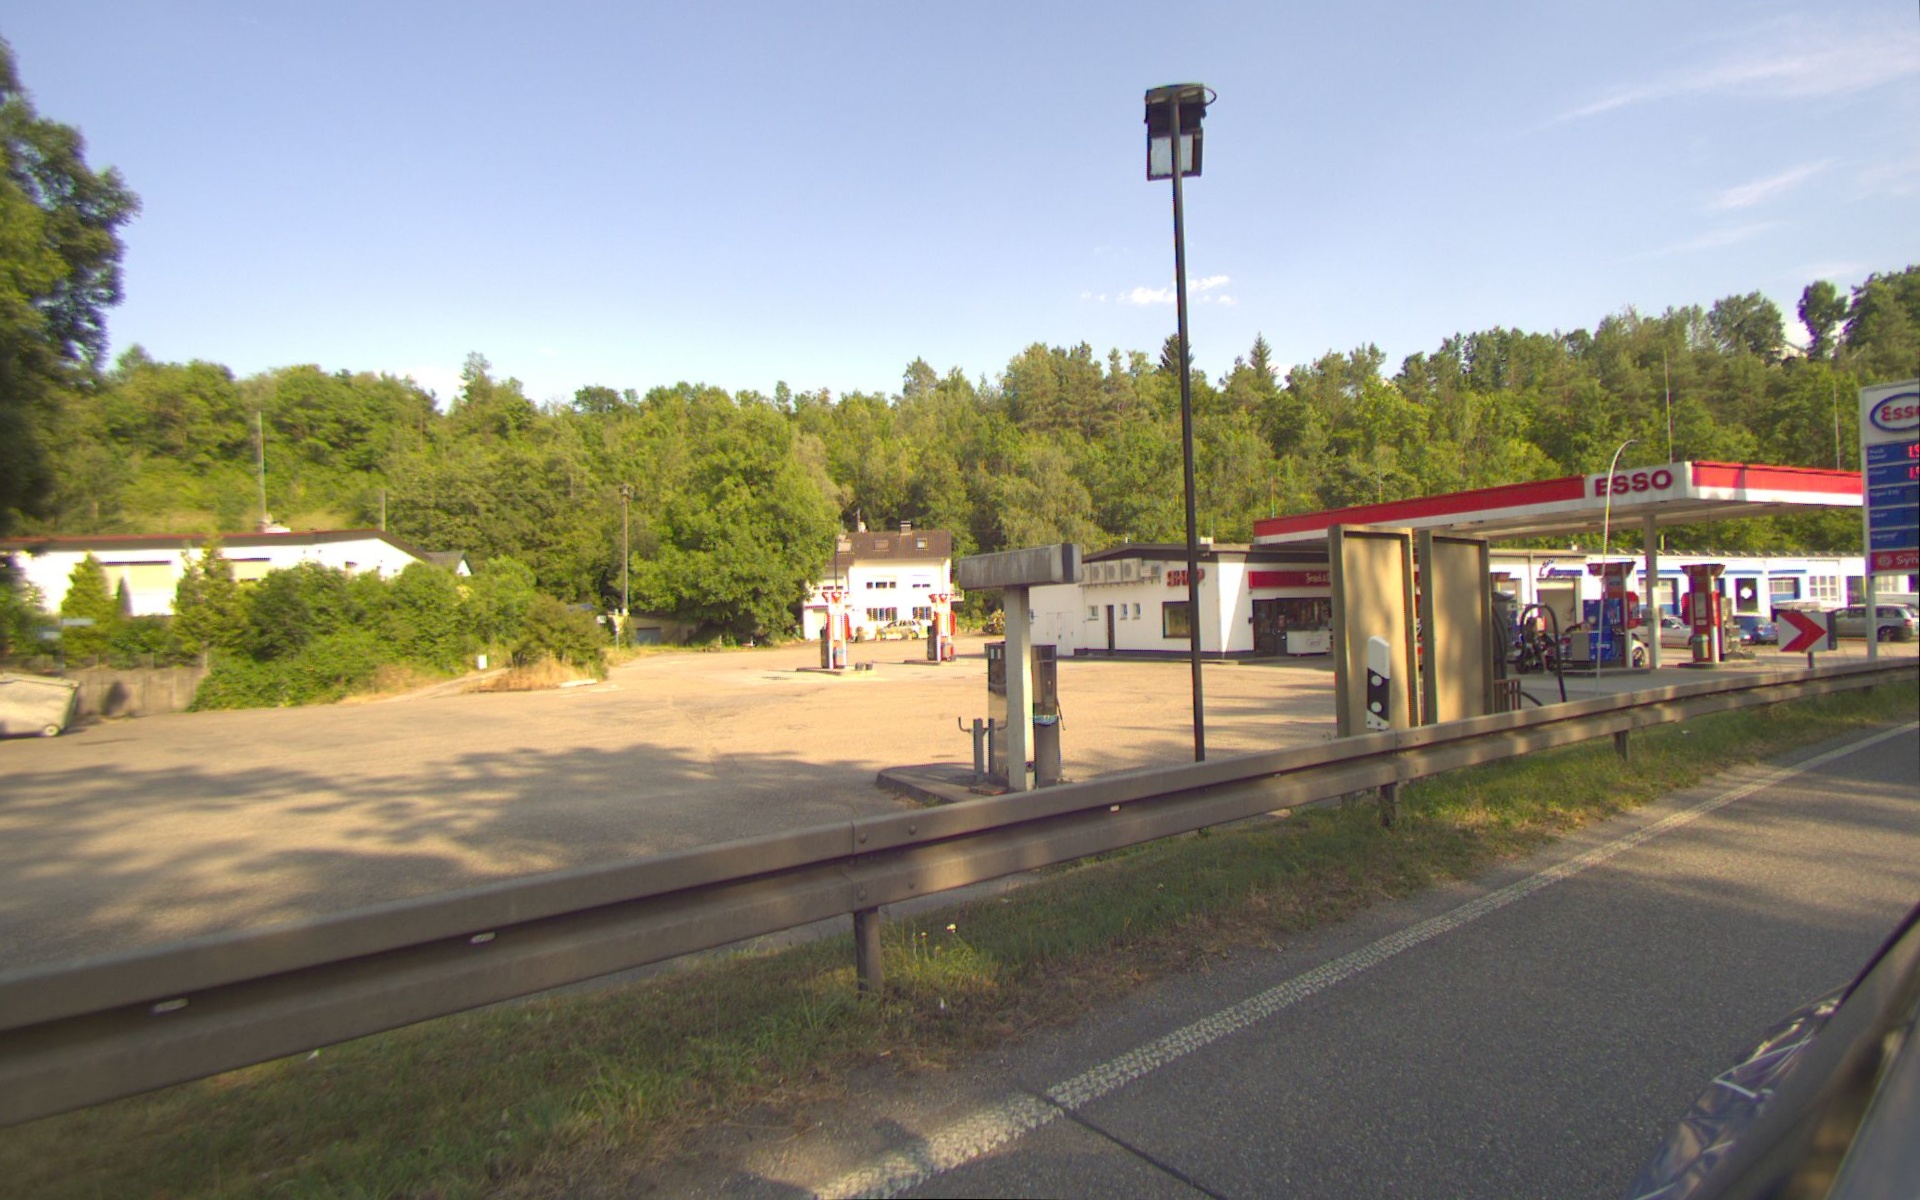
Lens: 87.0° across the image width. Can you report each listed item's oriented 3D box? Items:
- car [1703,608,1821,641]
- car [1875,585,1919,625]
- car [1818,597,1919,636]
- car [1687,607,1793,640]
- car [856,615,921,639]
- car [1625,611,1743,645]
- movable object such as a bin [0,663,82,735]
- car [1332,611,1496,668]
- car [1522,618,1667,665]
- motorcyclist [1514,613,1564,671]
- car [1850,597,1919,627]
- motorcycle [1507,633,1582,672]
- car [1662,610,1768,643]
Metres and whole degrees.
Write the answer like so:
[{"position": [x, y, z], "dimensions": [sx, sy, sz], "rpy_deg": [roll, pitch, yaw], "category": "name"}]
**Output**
[{"position": [38.679, 1.131, 48.904], "dimensions": [1.856, 1.365, 4.087], "rpy_deg": [0, 2, -26], "category": "car"}, {"position": [56.944, 0.295, 58.575], "dimensions": [2.248, 2.302, 5.500], "rpy_deg": [0, 1, -26], "category": "car"}, {"position": [46.346, 0.809, 51.037], "dimensions": [1.854, 1.750, 4.267], "rpy_deg": [0, 2, -29], "category": "car"}, {"position": [36.852, 1.102, 47.894], "dimensions": [1.698, 1.464, 3.560], "rpy_deg": [0, -1, -26], "category": "car"}, {"position": [-5.709, 2.160, 81.489], "dimensions": [5.068, 1.860, 2.701], "rpy_deg": [-1, -1, 0], "category": "car"}, {"position": [32.669, 1.214, 45.757], "dimensions": [1.741, 1.371, 3.973], "rpy_deg": [-1, 1, -30], "category": "car"}, {"position": [-20.412, 2.134, 21.595], "dimensions": [2.512, 1.439, 1.267], "rpy_deg": [0, -4, -41], "category": "movable object such as a bin"}, {"position": [14.591, 1.219, 32.493], "dimensions": [5.074, 1.649, 2.102], "rpy_deg": [0, -1, -28], "category": "car"}, {"position": [19.924, 1.261, 31.778], "dimensions": [4.299, 1.336, 1.851], "rpy_deg": [0, -1, -26], "category": "car"}, {"position": [16.923, 1.215, 29.579], "dimensions": [0.909, 1.625, 0.862], "rpy_deg": [0, -1, -27], "category": "motorcyclist"}, {"position": [52.767, 0.664, 56.484], "dimensions": [1.856, 1.631, 4.261], "rpy_deg": [0, 1, -26], "category": "car"}, {"position": [17.140, 1.524, 29.672], "dimensions": [2.293, 1.025, 0.765], "rpy_deg": [0, -1, -27], "category": "motorcycle"}, {"position": [34.908, 1.199, 46.904], "dimensions": [1.656, 1.424, 3.566], "rpy_deg": [0, 0, -26], "category": "car"}]
